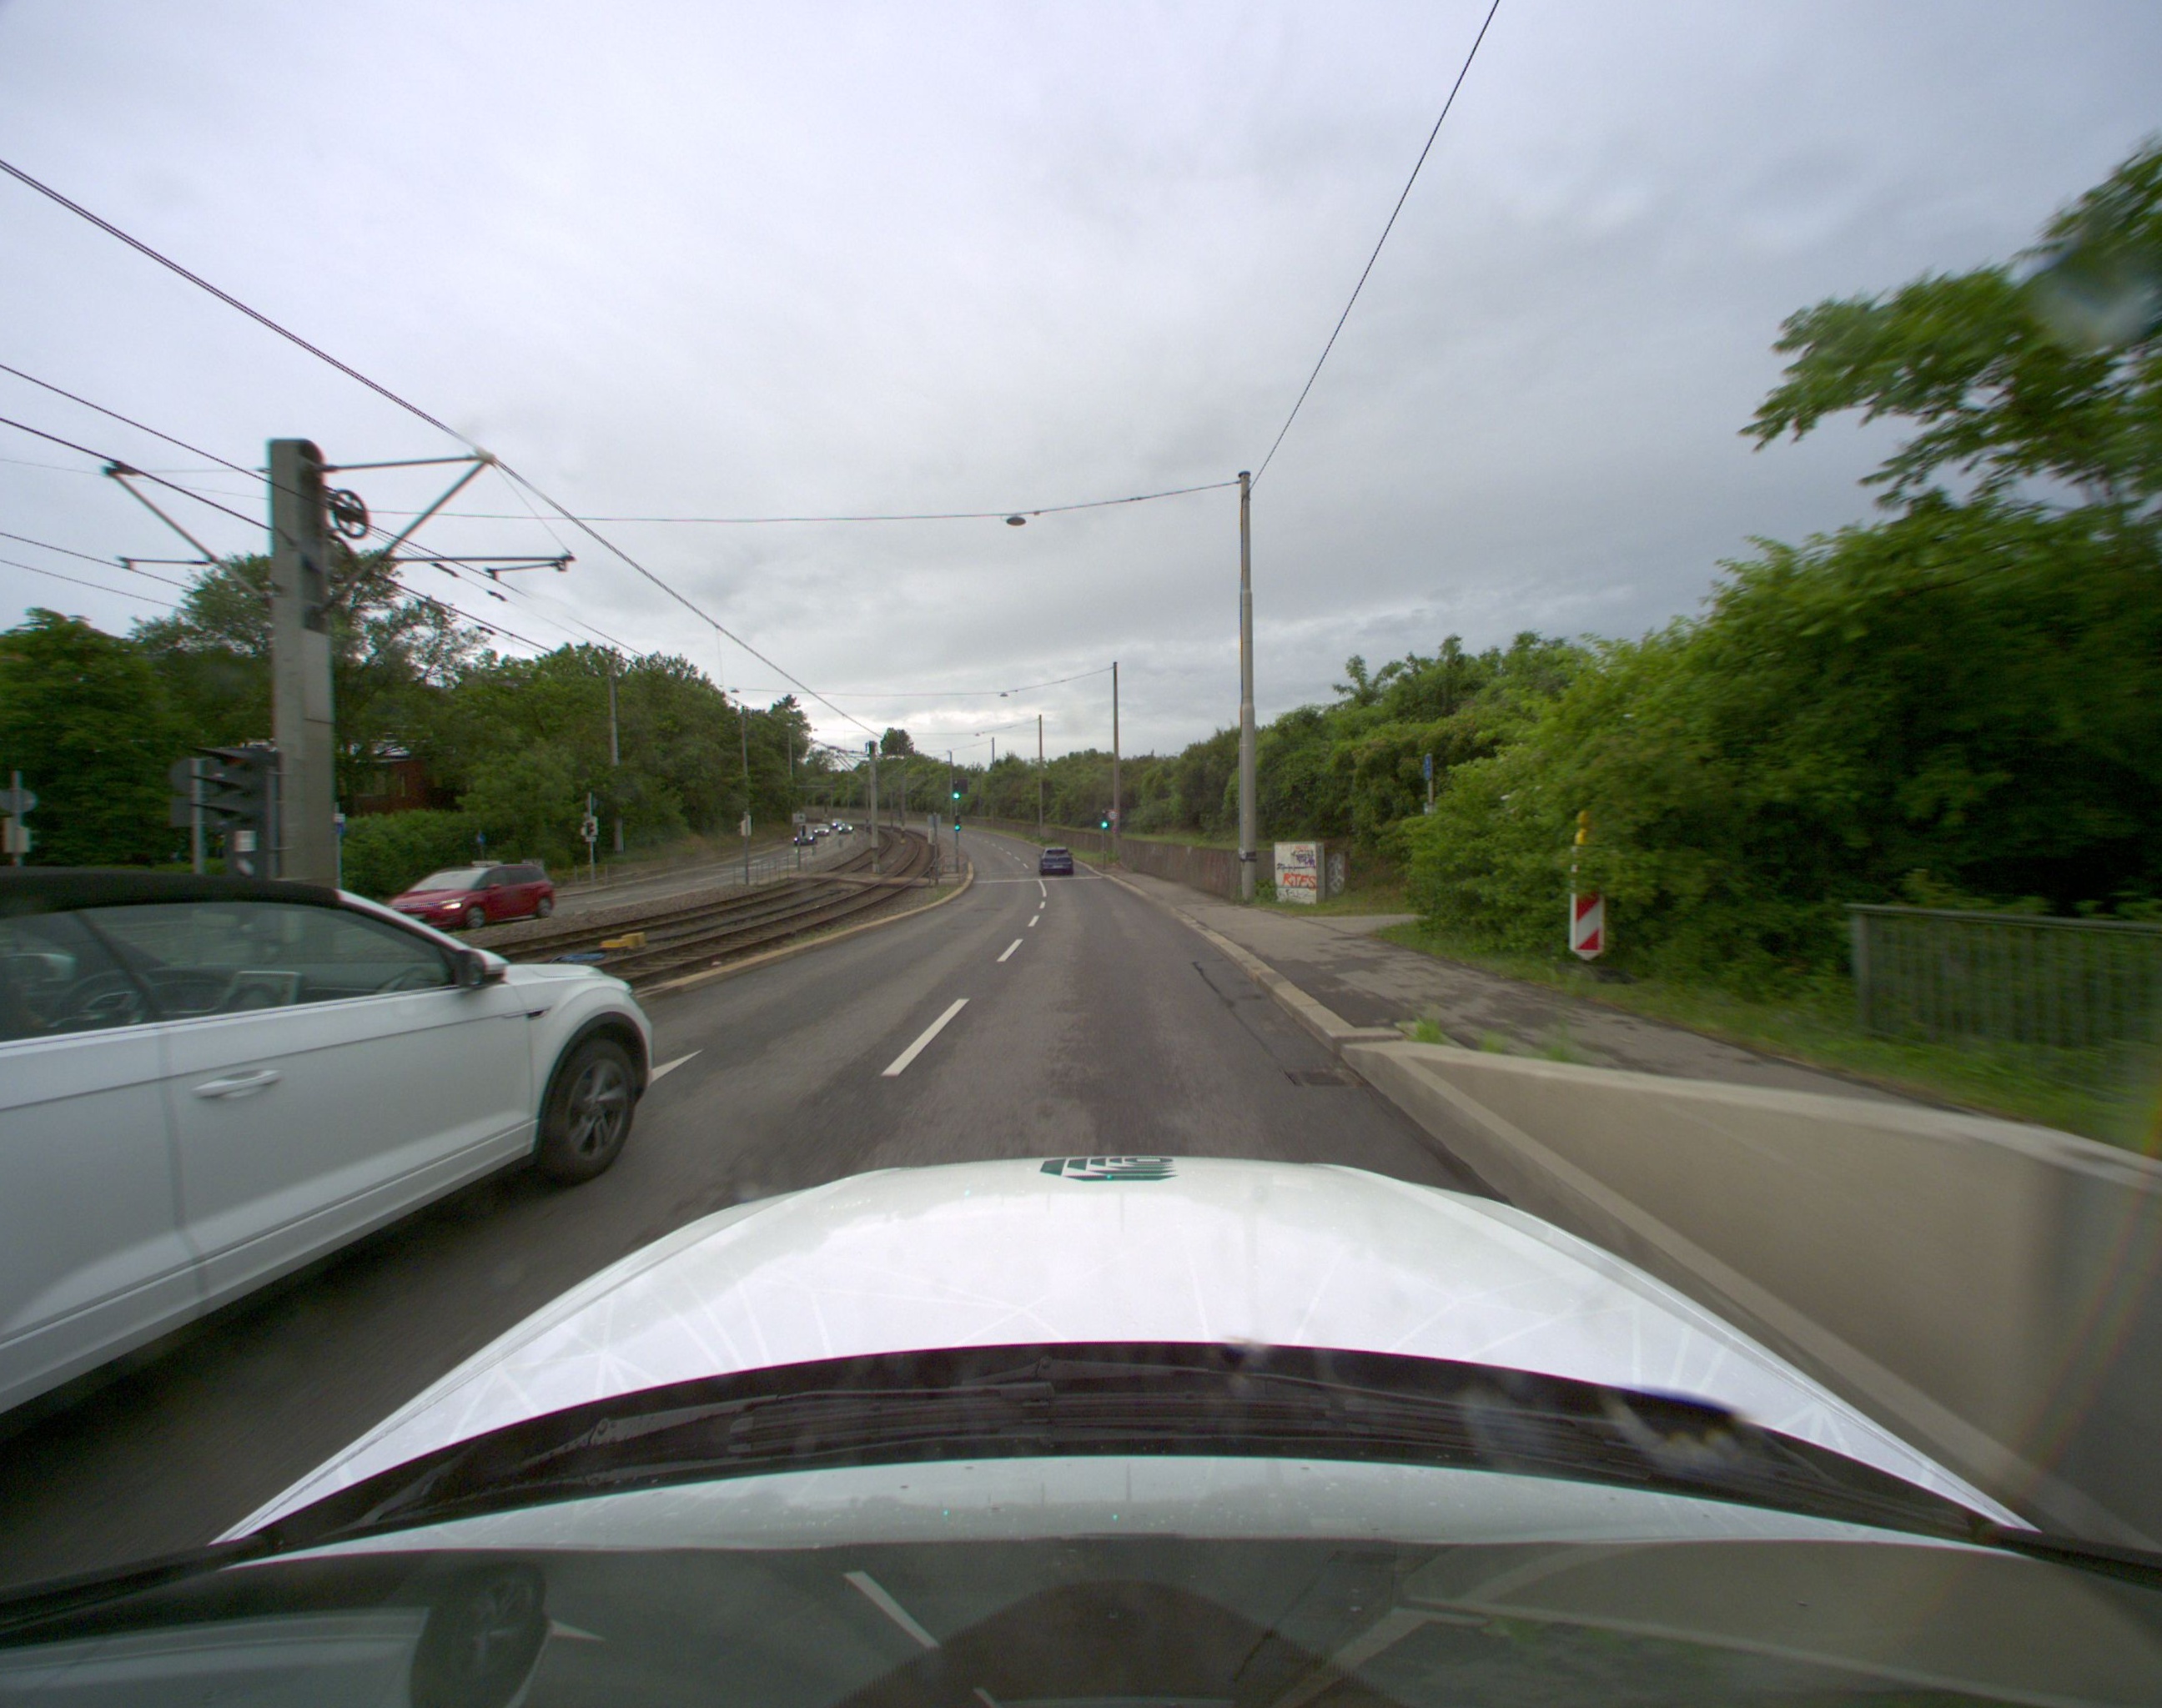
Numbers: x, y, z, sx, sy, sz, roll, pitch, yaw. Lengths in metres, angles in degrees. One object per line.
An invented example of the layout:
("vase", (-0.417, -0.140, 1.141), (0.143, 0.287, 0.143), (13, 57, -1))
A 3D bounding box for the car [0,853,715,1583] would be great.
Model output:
("car", (-3.240, 0.805, 2.722), (1.865, 1.524, 4.541), (-1, 1, 1))

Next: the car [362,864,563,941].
("car", (-16.096, 1.169, 21.580), (1.844, 1.597, 4.726), (-3, 1, -4))

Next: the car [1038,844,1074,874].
("car", (-1.306, 0.243, 44.231), (1.757, 1.501, 4.001), (-1, 2, 1))

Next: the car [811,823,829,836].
("car", (-32.041, -2.989, 99.771), (1.826, 1.379, 4.675), (-4, 5, -20))

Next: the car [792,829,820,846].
("car", (-26.597, -1.628, 78.848), (1.715, 1.458, 4.265), (-3, 3, -7))

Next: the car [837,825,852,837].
("car", (-30.229, -2.903, 103.908), (1.638, 1.384, 3.871), (-5, 4, -18))

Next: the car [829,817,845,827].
("car", (-37.505, -4.934, 125.177), (1.869, 1.438, 4.820), (-5, 5, -22))
